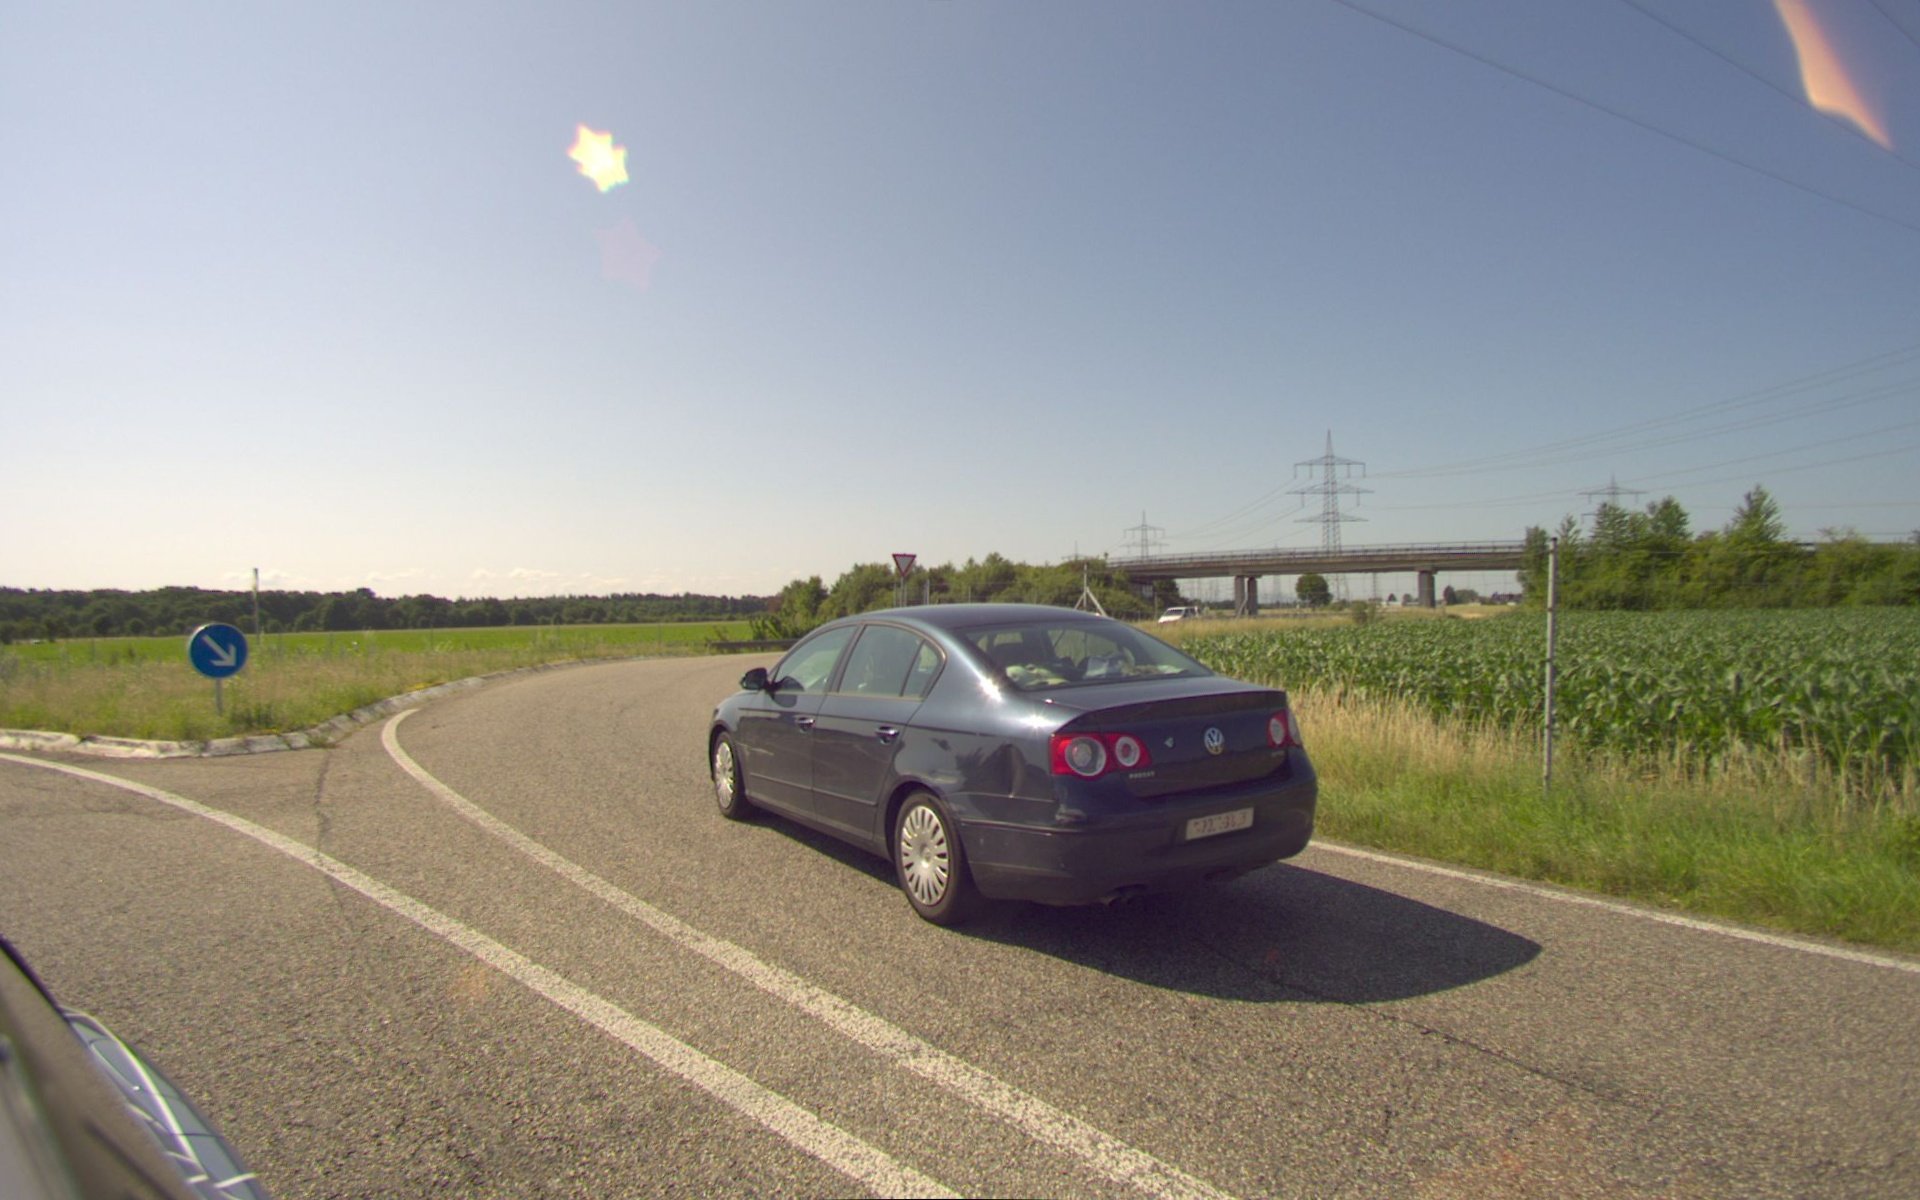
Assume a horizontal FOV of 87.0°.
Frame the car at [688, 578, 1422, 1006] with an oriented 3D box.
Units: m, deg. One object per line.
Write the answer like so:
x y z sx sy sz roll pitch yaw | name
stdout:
0.030 0.701 5.893 1.751 1.467 4.604 0 -1 -34 | car

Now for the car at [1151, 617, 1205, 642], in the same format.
16.409 2.172 76.006 2.097 1.652 5.292 -2 0 34 | car
